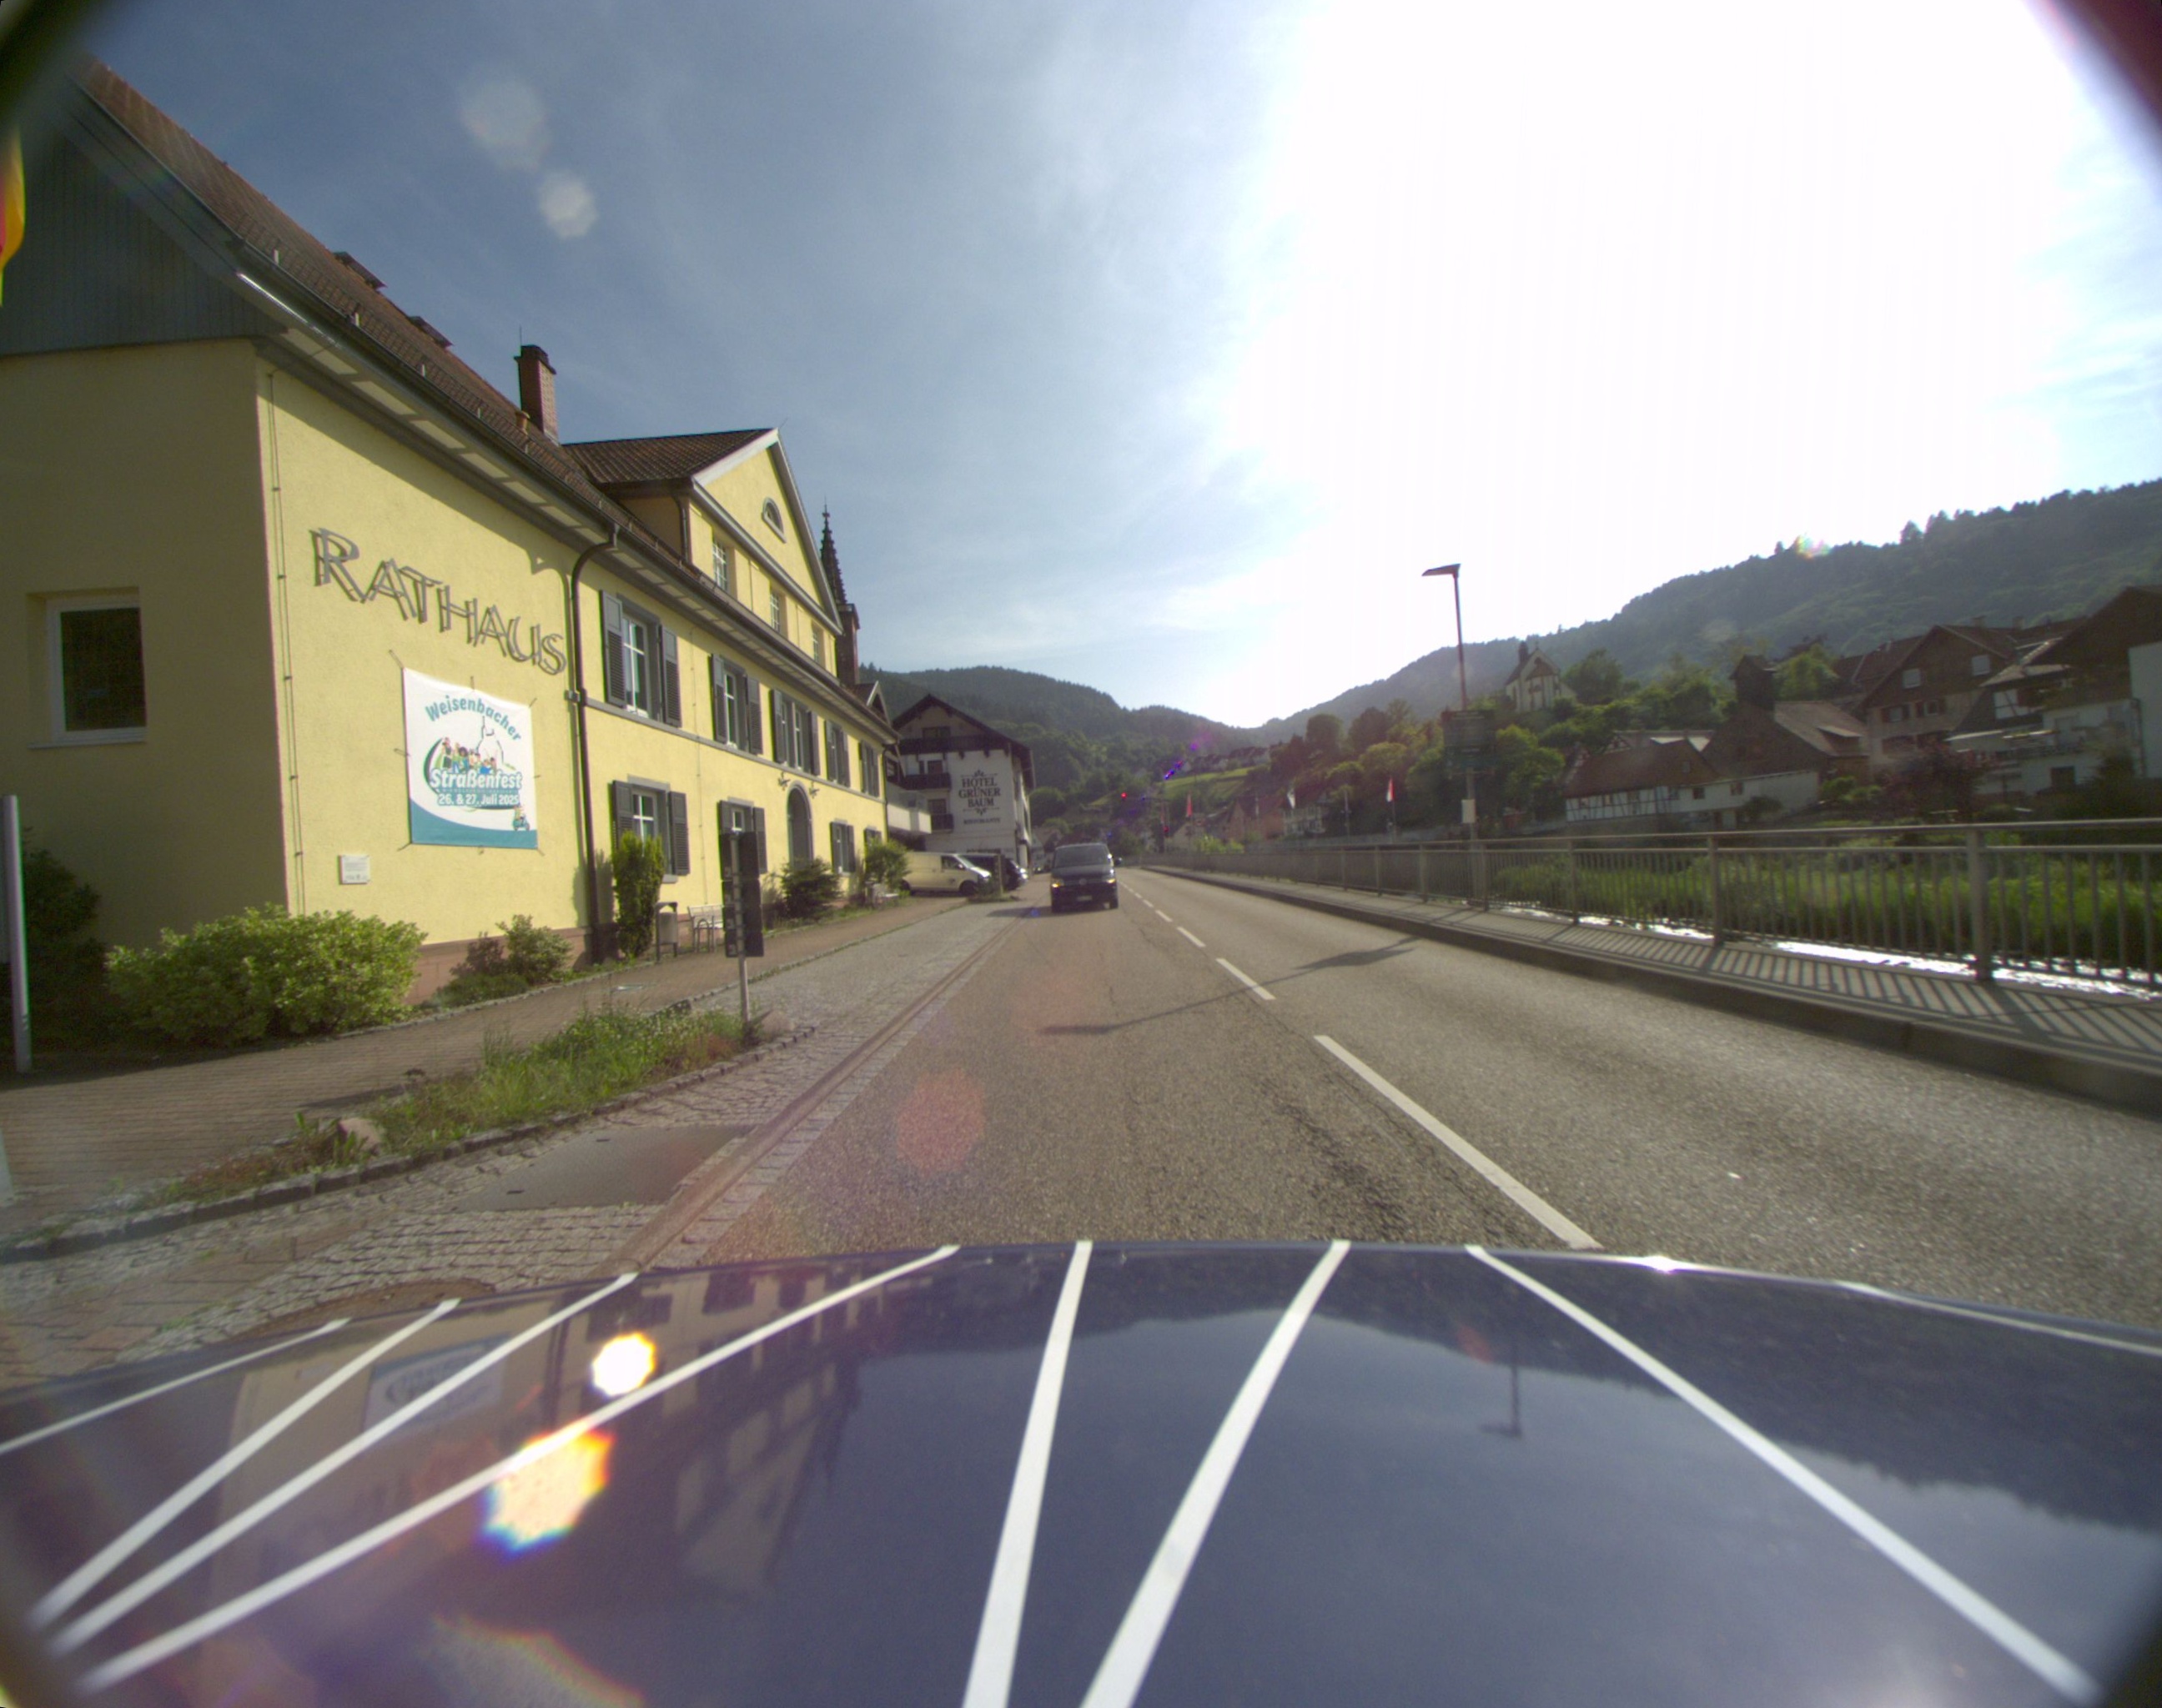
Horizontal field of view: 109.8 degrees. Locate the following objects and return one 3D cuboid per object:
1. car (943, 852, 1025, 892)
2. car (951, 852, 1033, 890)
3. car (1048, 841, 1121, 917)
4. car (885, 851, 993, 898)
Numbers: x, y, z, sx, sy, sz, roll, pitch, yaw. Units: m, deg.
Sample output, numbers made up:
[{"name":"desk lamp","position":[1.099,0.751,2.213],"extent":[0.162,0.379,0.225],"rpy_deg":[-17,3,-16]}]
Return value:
[{"name":"car","position":[-4.681,0.872,36.927],"extent":[3.755,1.882,1.372],"rpy_deg":[1,0,3]},{"name":"car","position":[-4.589,0.858,39.541],"extent":[3.996,1.871,1.685],"rpy_deg":[-1,0,3]},{"name":"car","position":[0.141,0.698,23.282],"extent":[1.887,1.952,4.866],"rpy_deg":[-4,0,1]},{"name":"car","position":[-6.359,0.901,34.218],"extent":[4.453,1.947,1.714],"rpy_deg":[1,0,3]}]
